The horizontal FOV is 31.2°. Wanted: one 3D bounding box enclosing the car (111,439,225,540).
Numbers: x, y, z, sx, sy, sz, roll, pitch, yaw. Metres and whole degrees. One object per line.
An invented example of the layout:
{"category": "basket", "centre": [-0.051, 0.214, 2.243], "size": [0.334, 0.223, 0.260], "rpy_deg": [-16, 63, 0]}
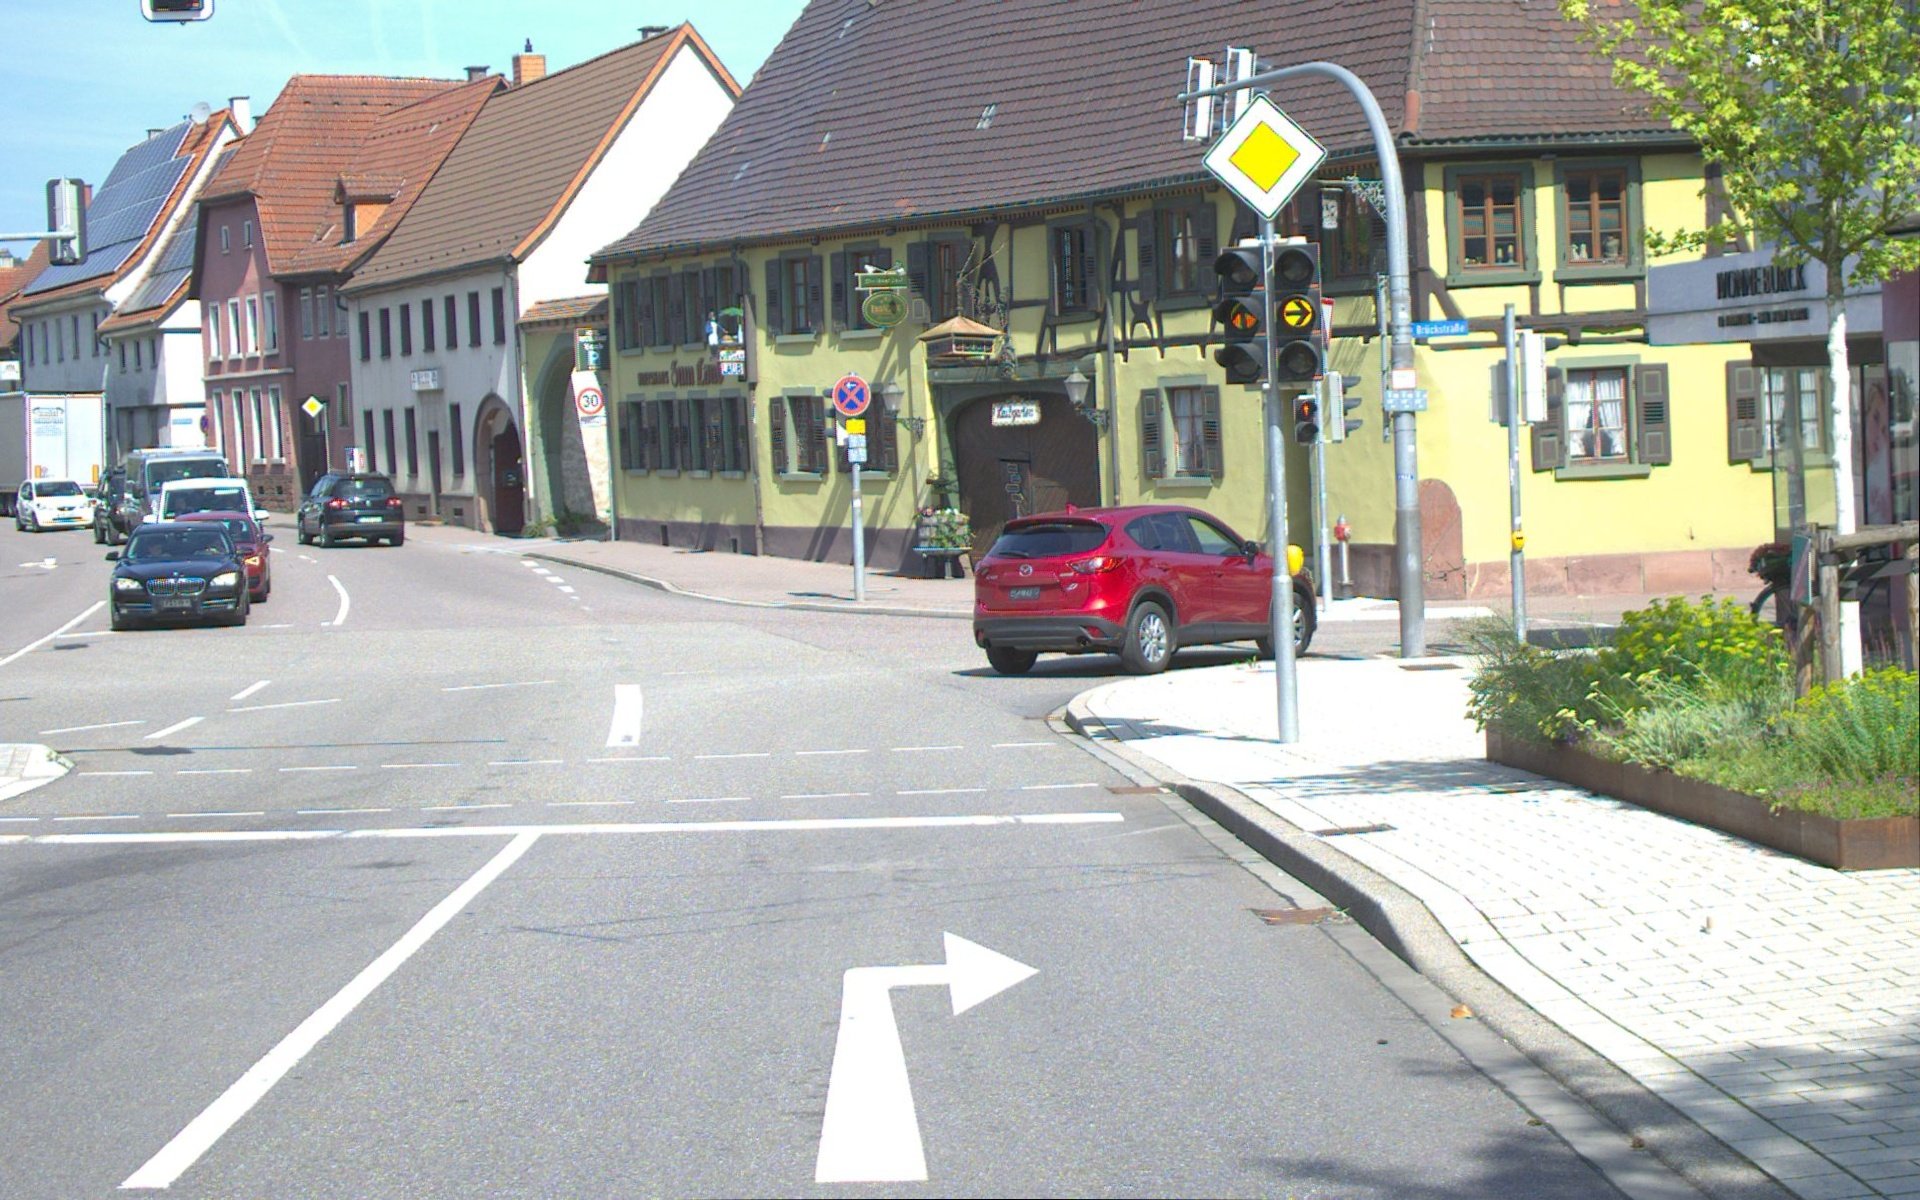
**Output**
{"category": "car", "centre": [-18.057, -2.543, 78.297], "size": [1.757, 2.238, 4.554], "rpy_deg": [-1, 2, -23]}

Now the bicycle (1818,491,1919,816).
{"category": "bicycle", "centre": [4.131, 0.205, 14.410], "size": [0.529, 1.275, 1.992], "rpy_deg": [-5, 2, 2]}

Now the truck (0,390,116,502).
{"category": "truck", "centre": [-30.748, -5.068, 113.552], "size": [3.223, 3.537, 9.232], "rpy_deg": [-1, 3, -29]}

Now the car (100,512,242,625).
{"category": "car", "centre": [-11.516, -0.498, 50.363], "size": [1.820, 1.429, 4.250], "rpy_deg": [-2, 3, -11]}

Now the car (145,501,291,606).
{"category": "car", "centre": [-12.429, -0.827, 57.815], "size": [2.158, 1.510, 4.949], "rpy_deg": [-2, 3, -10]}

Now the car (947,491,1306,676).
{"category": "car", "centre": [1.743, -0.191, 34.870], "size": [1.808, 1.657, 3.805], "rpy_deg": [-1, 2, 35]}

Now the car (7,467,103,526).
{"category": "car", "centre": [-25.434, -2.918, 96.545], "size": [1.785, 1.521, 4.006], "rpy_deg": [-4, 4, -26]}

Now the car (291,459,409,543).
{"category": "car", "centre": [-13.799, -2.261, 77.655], "size": [1.820, 1.732, 4.007], "rpy_deg": [-4, 4, -20]}

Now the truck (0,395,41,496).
{"category": "truck", "centre": [-35.609, -5.432, 122.234], "size": [3.159, 3.448, 10.713], "rpy_deg": [-1, 2, -29]}

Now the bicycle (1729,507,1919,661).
{"category": "bicycle", "centre": [7.635, -0.147, 29.709], "size": [1.803, 1.230, 0.549], "rpy_deg": [-3, 2, -2]}

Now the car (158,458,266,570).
{"category": "car", "centre": [-14.042, -1.658, 64.386], "size": [1.820, 1.899, 4.966], "rpy_deg": [-3, 4, -13]}
